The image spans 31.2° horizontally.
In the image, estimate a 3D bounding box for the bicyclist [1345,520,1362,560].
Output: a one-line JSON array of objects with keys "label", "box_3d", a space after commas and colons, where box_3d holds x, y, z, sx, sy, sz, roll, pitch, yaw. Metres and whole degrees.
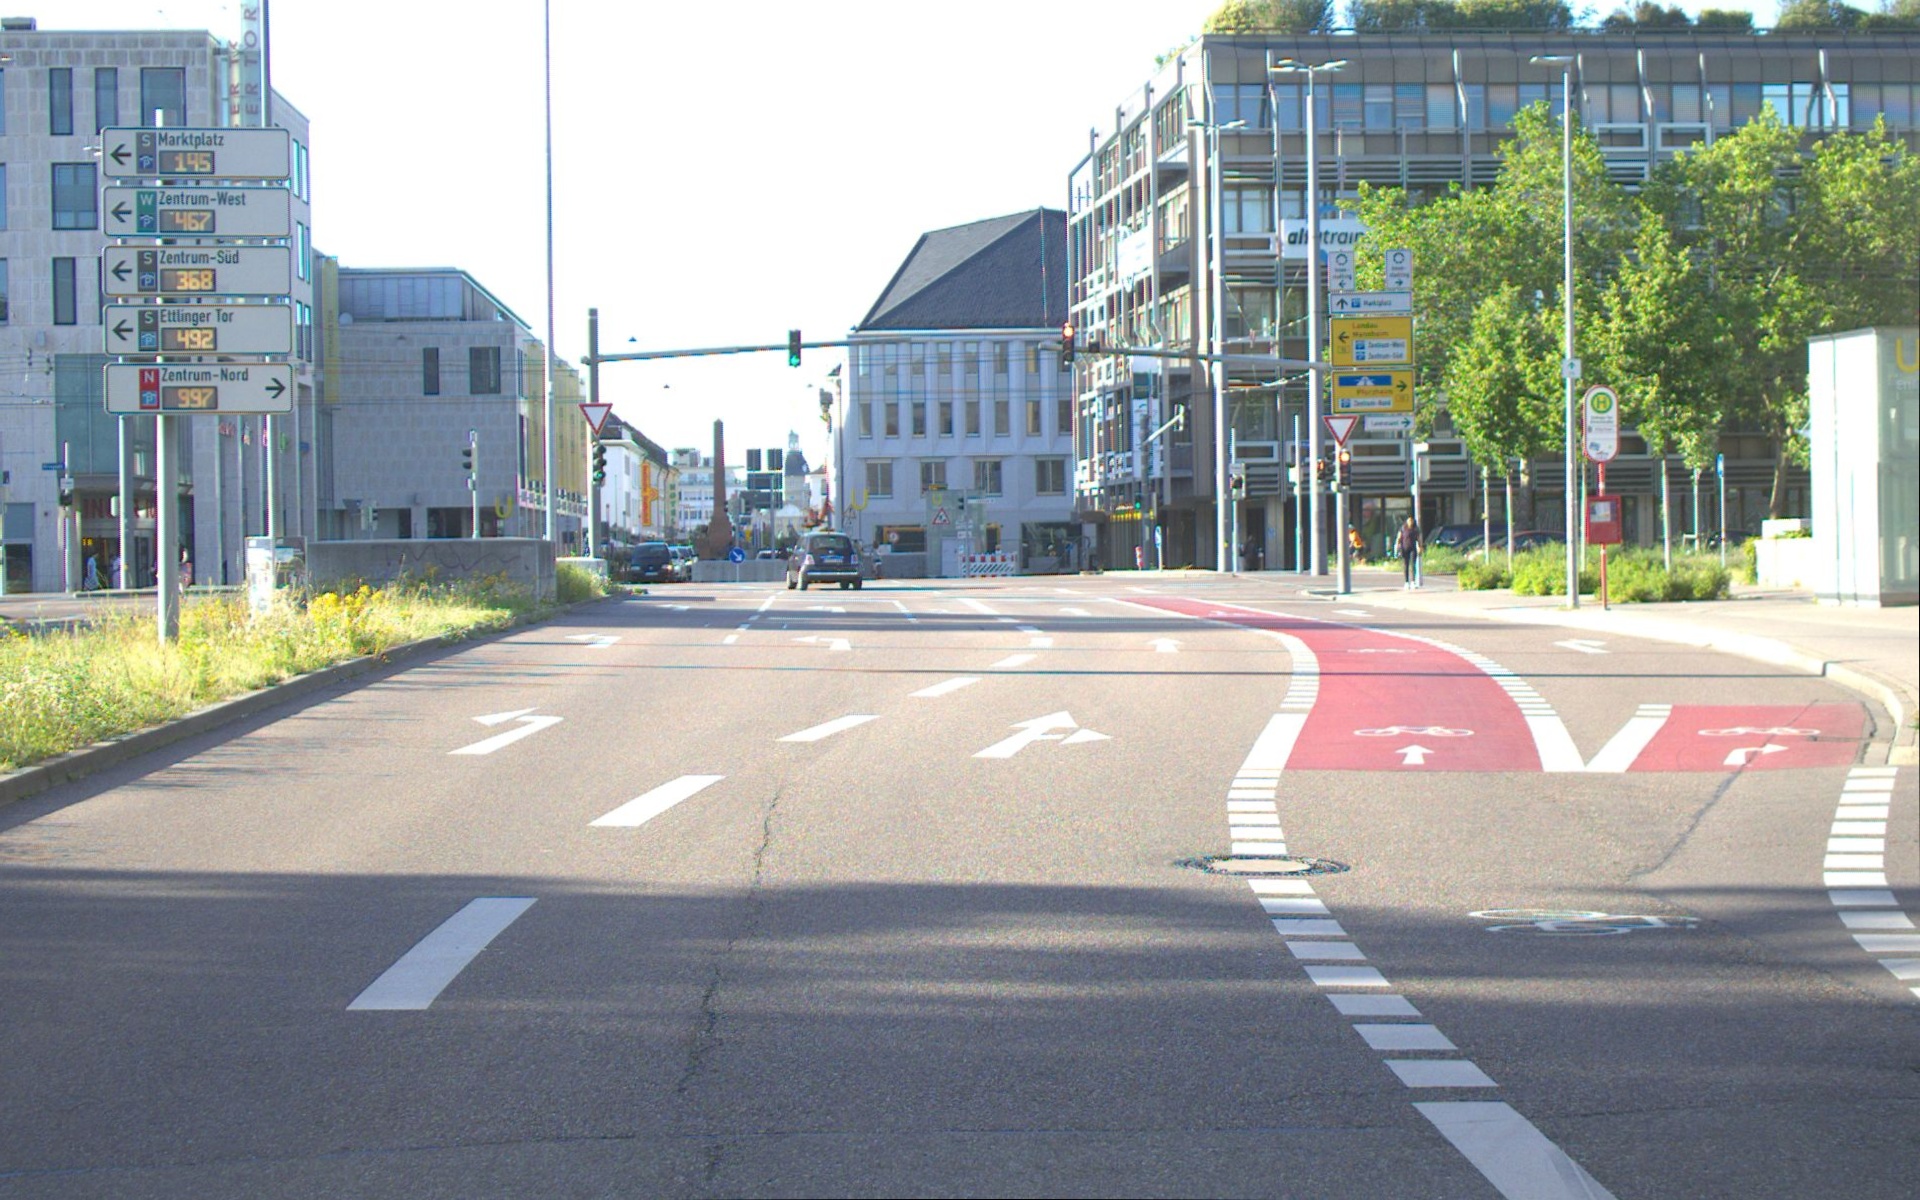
[{"label": "bicyclist", "box_3d": [13.178, -2.019, 115.042, 0.508, 1.333, 0.452, -1, 1, 1]}]

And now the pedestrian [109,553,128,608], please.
[{"label": "pedestrian", "box_3d": [-31.118, -0.718, 127.121, 0.622, 2.007, 0.516, -1, 1, -10]}]

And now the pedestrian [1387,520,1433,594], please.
[{"label": "pedestrian", "box_3d": [10.692, -1.027, 81.689, 0.822, 1.742, 1.041, -1, 1, 20]}]

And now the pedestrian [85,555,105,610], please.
[{"label": "pedestrian", "box_3d": [-31.855, -0.661, 126.635, 0.622, 2.007, 0.516, -1, 1, -10]}]

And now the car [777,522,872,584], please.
[{"label": "car", "box_3d": [-3.551, -1.238, 89.409, 1.775, 1.558, 3.790, -1, 1, -13]}]

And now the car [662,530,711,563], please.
[{"label": "car", "box_3d": [-12.287, -2.416, 154.733, 1.993, 1.351, 4.647, -1, 2, -2]}]

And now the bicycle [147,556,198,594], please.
[{"label": "bicycle", "box_3d": [-18.281, -0.583, 79.844, 0.612, 0.858, 1.951, -1, 1, 4]}]

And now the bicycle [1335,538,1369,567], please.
[{"label": "bicycle", "box_3d": [13.130, -1.583, 115.045, 1.076, 0.967, 0.458, -1, 1, 1]}]

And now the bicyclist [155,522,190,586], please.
[{"label": "bicyclist", "box_3d": [-18.290, -1.069, 79.866, 0.607, 1.484, 0.681, -1, 1, 4]}]

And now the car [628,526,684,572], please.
[{"label": "car", "box_3d": [-12.307, -2.087, 139.550, 1.993, 1.736, 4.647, -1, 2, -2]}]
